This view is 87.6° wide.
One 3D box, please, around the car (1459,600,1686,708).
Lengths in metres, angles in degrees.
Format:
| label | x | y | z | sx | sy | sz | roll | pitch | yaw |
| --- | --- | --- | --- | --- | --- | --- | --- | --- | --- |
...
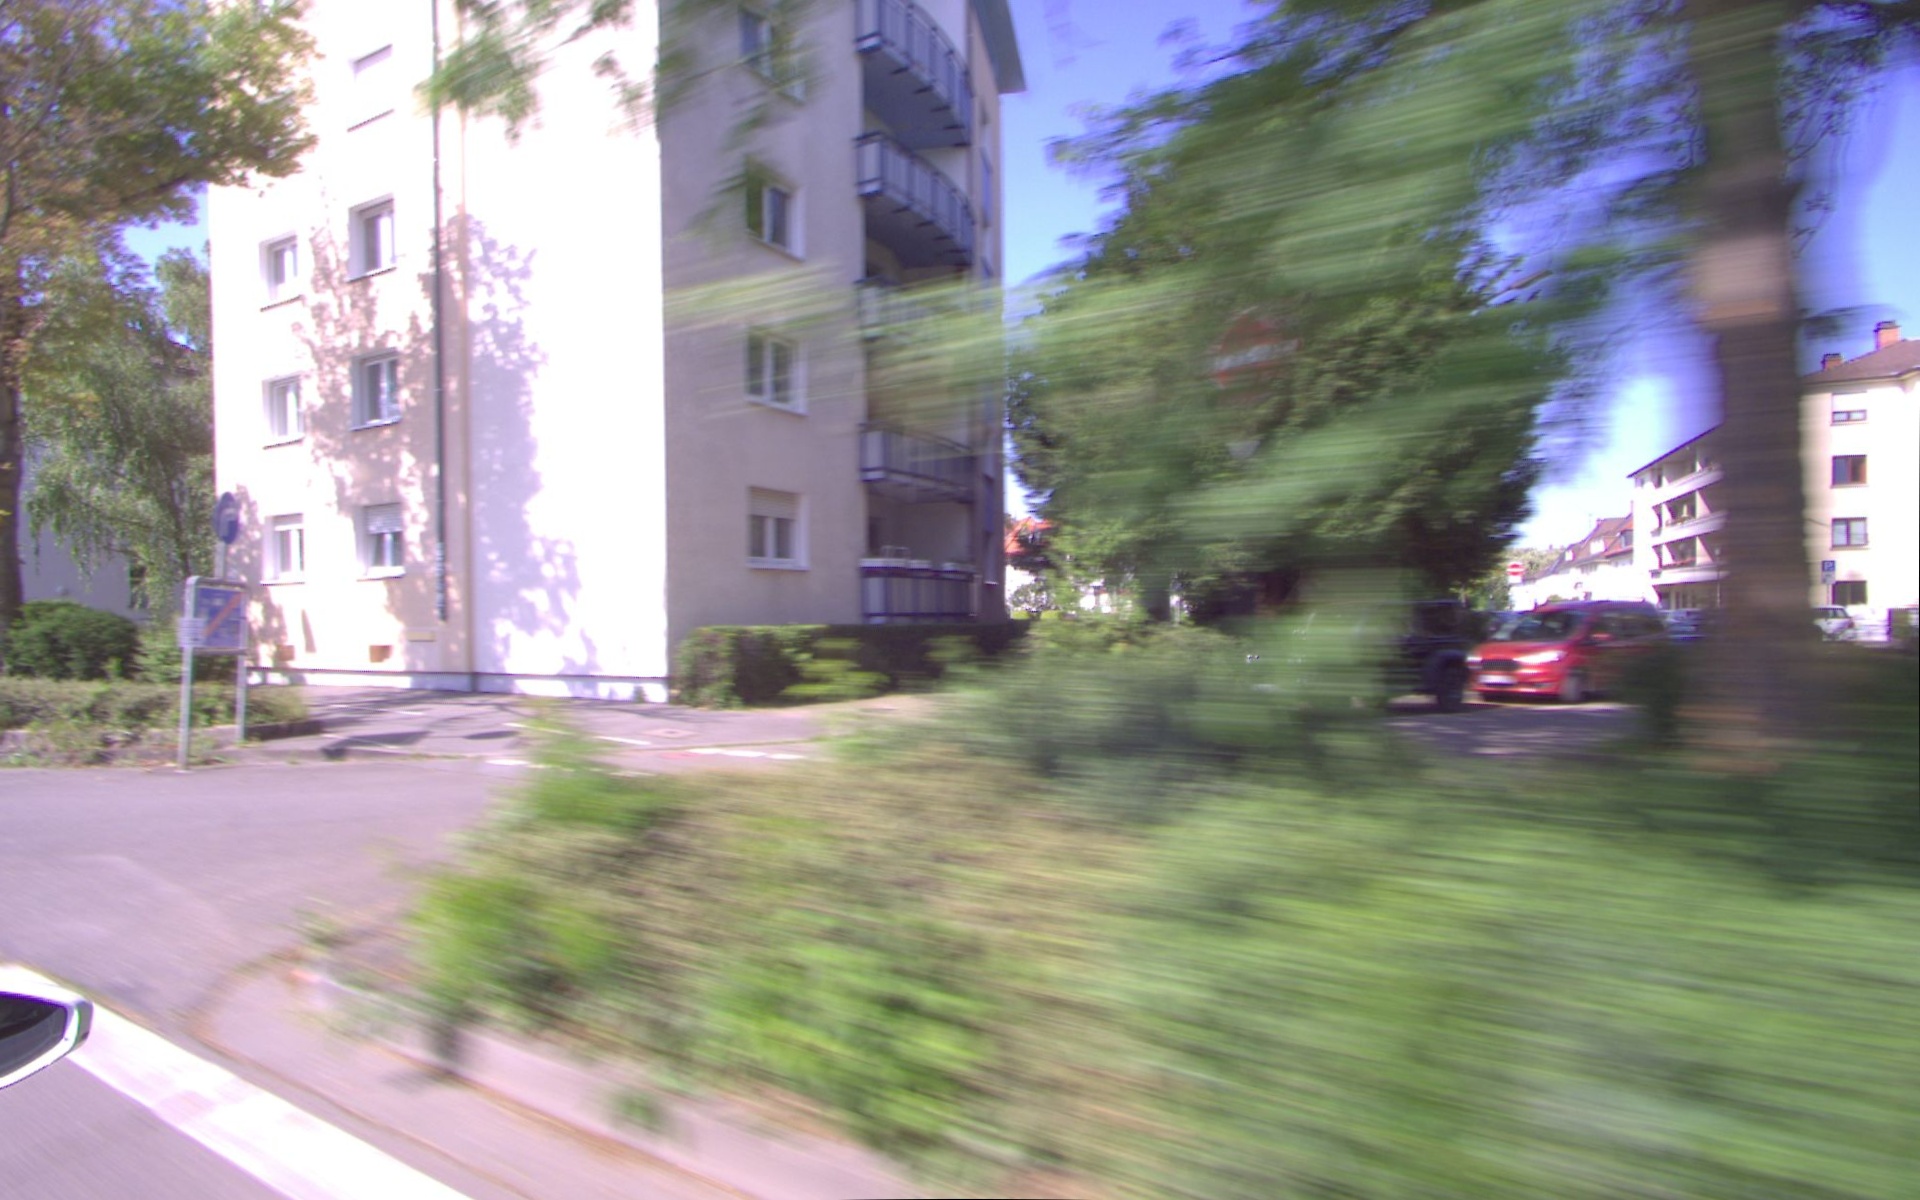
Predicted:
| label | x | y | z | sx | sy | sz | roll | pitch | yaw |
| --- | --- | --- | --- | --- | --- | --- | --- | --- | --- |
| car | 10.628 | 0.853 | 17.344 | 3.790 | 1.696 | 1.655 | 0 | 0 | -27 |

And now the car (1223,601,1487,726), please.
| label | x | y | z | sx | sy | sz | roll | pitch | yaw |
| --- | --- | --- | --- | --- | --- | --- | --- | --- | --- |
| car | 5.909 | 0.873 | 14.991 | 3.531 | 1.676 | 1.682 | 0 | -1 | -24 |

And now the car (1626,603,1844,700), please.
| label | x | y | z | sx | sy | sz | roll | pitch | yaw |
| --- | --- | --- | --- | --- | --- | --- | --- | --- | --- |
| car | 15.009 | 0.934 | 19.365 | 4.145 | 1.695 | 1.781 | 0 | -1 | -28 |
